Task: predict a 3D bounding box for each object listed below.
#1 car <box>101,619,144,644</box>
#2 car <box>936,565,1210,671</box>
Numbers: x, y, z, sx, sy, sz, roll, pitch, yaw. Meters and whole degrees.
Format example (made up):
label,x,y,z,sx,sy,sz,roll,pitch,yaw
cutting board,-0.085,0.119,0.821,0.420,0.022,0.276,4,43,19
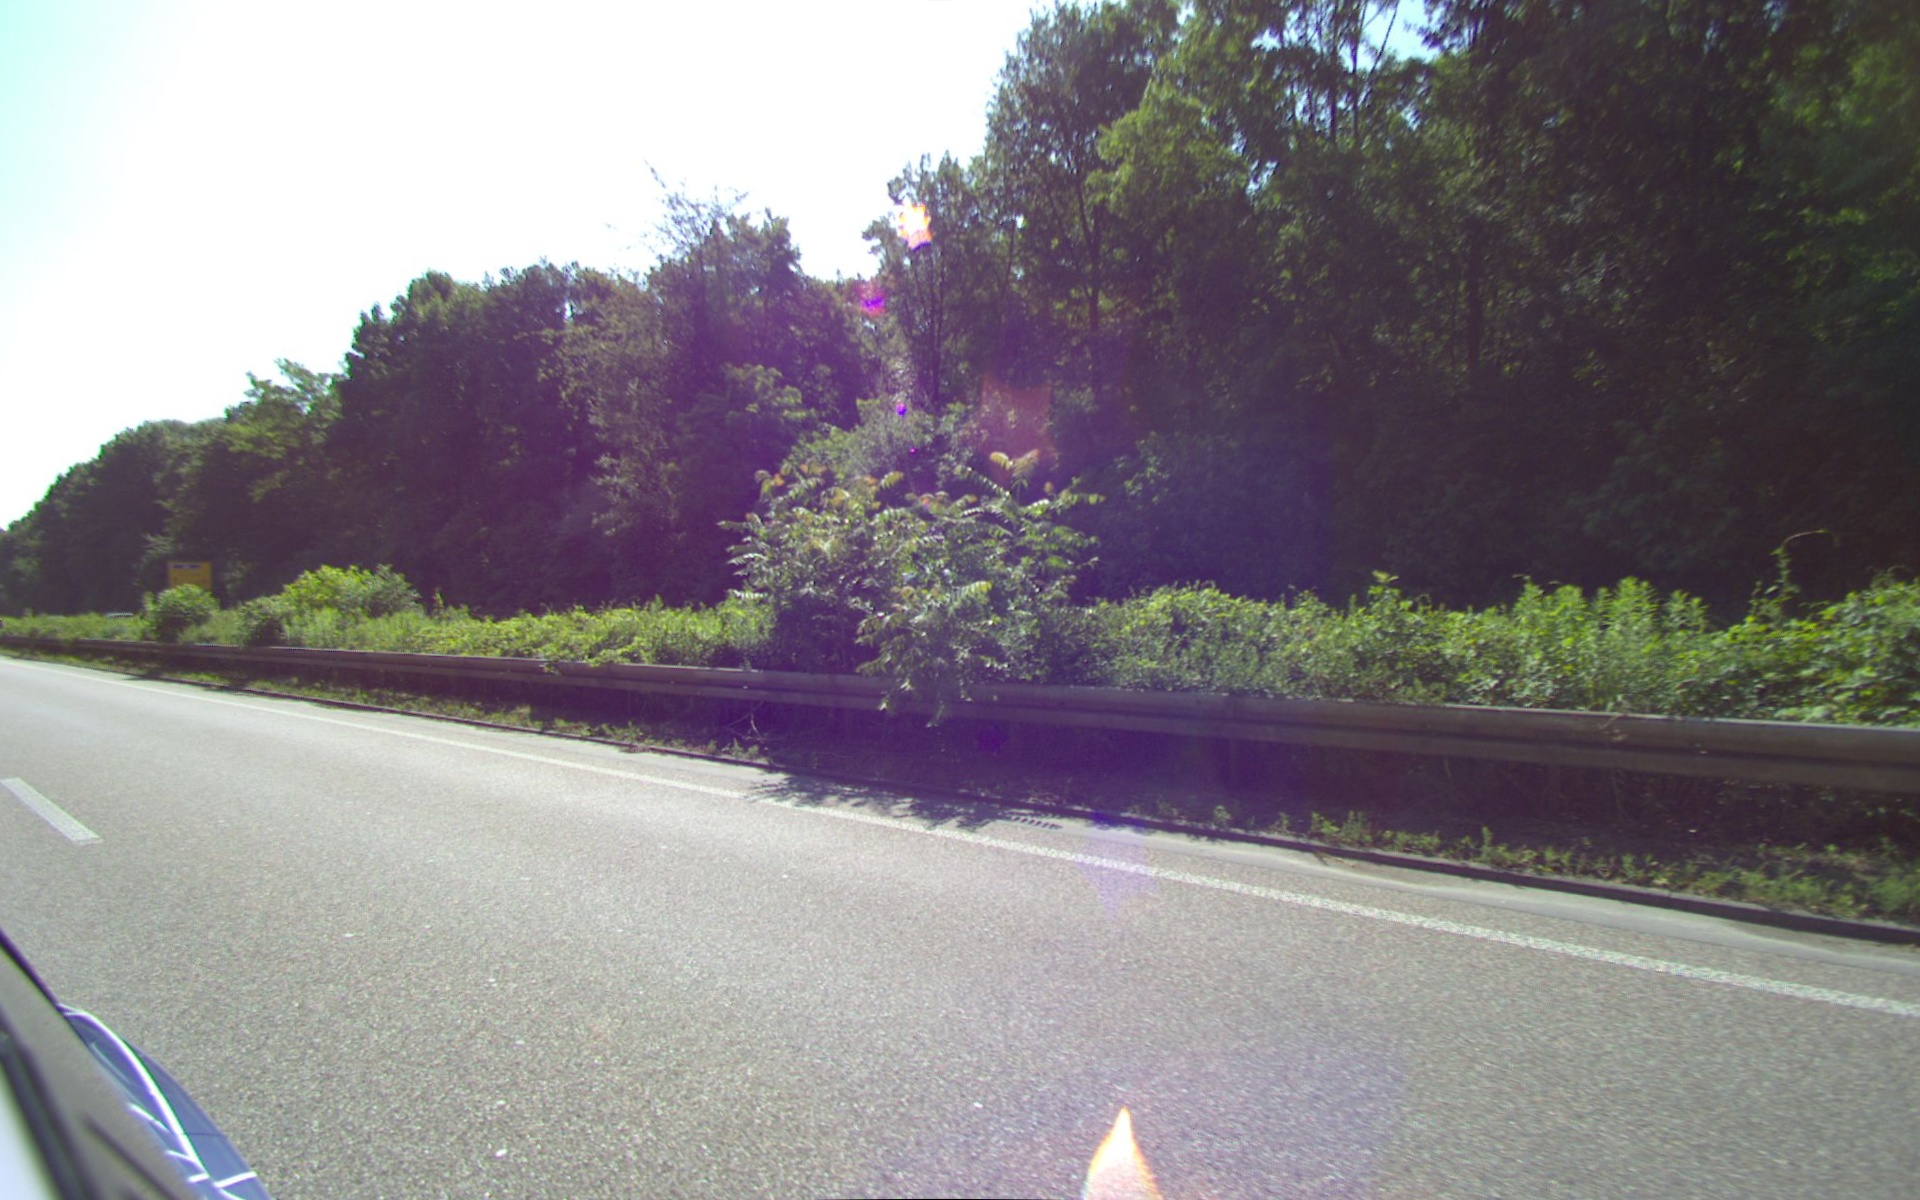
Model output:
label,x,y,z,sx,sy,sz,roll,pitch,yaw
car,-60.382,2.278,72.961,3.997,1.675,1.675,-3,-5,40
car,1.886,0.377,18.026,4.710,1.674,1.675,-2,-3,40
